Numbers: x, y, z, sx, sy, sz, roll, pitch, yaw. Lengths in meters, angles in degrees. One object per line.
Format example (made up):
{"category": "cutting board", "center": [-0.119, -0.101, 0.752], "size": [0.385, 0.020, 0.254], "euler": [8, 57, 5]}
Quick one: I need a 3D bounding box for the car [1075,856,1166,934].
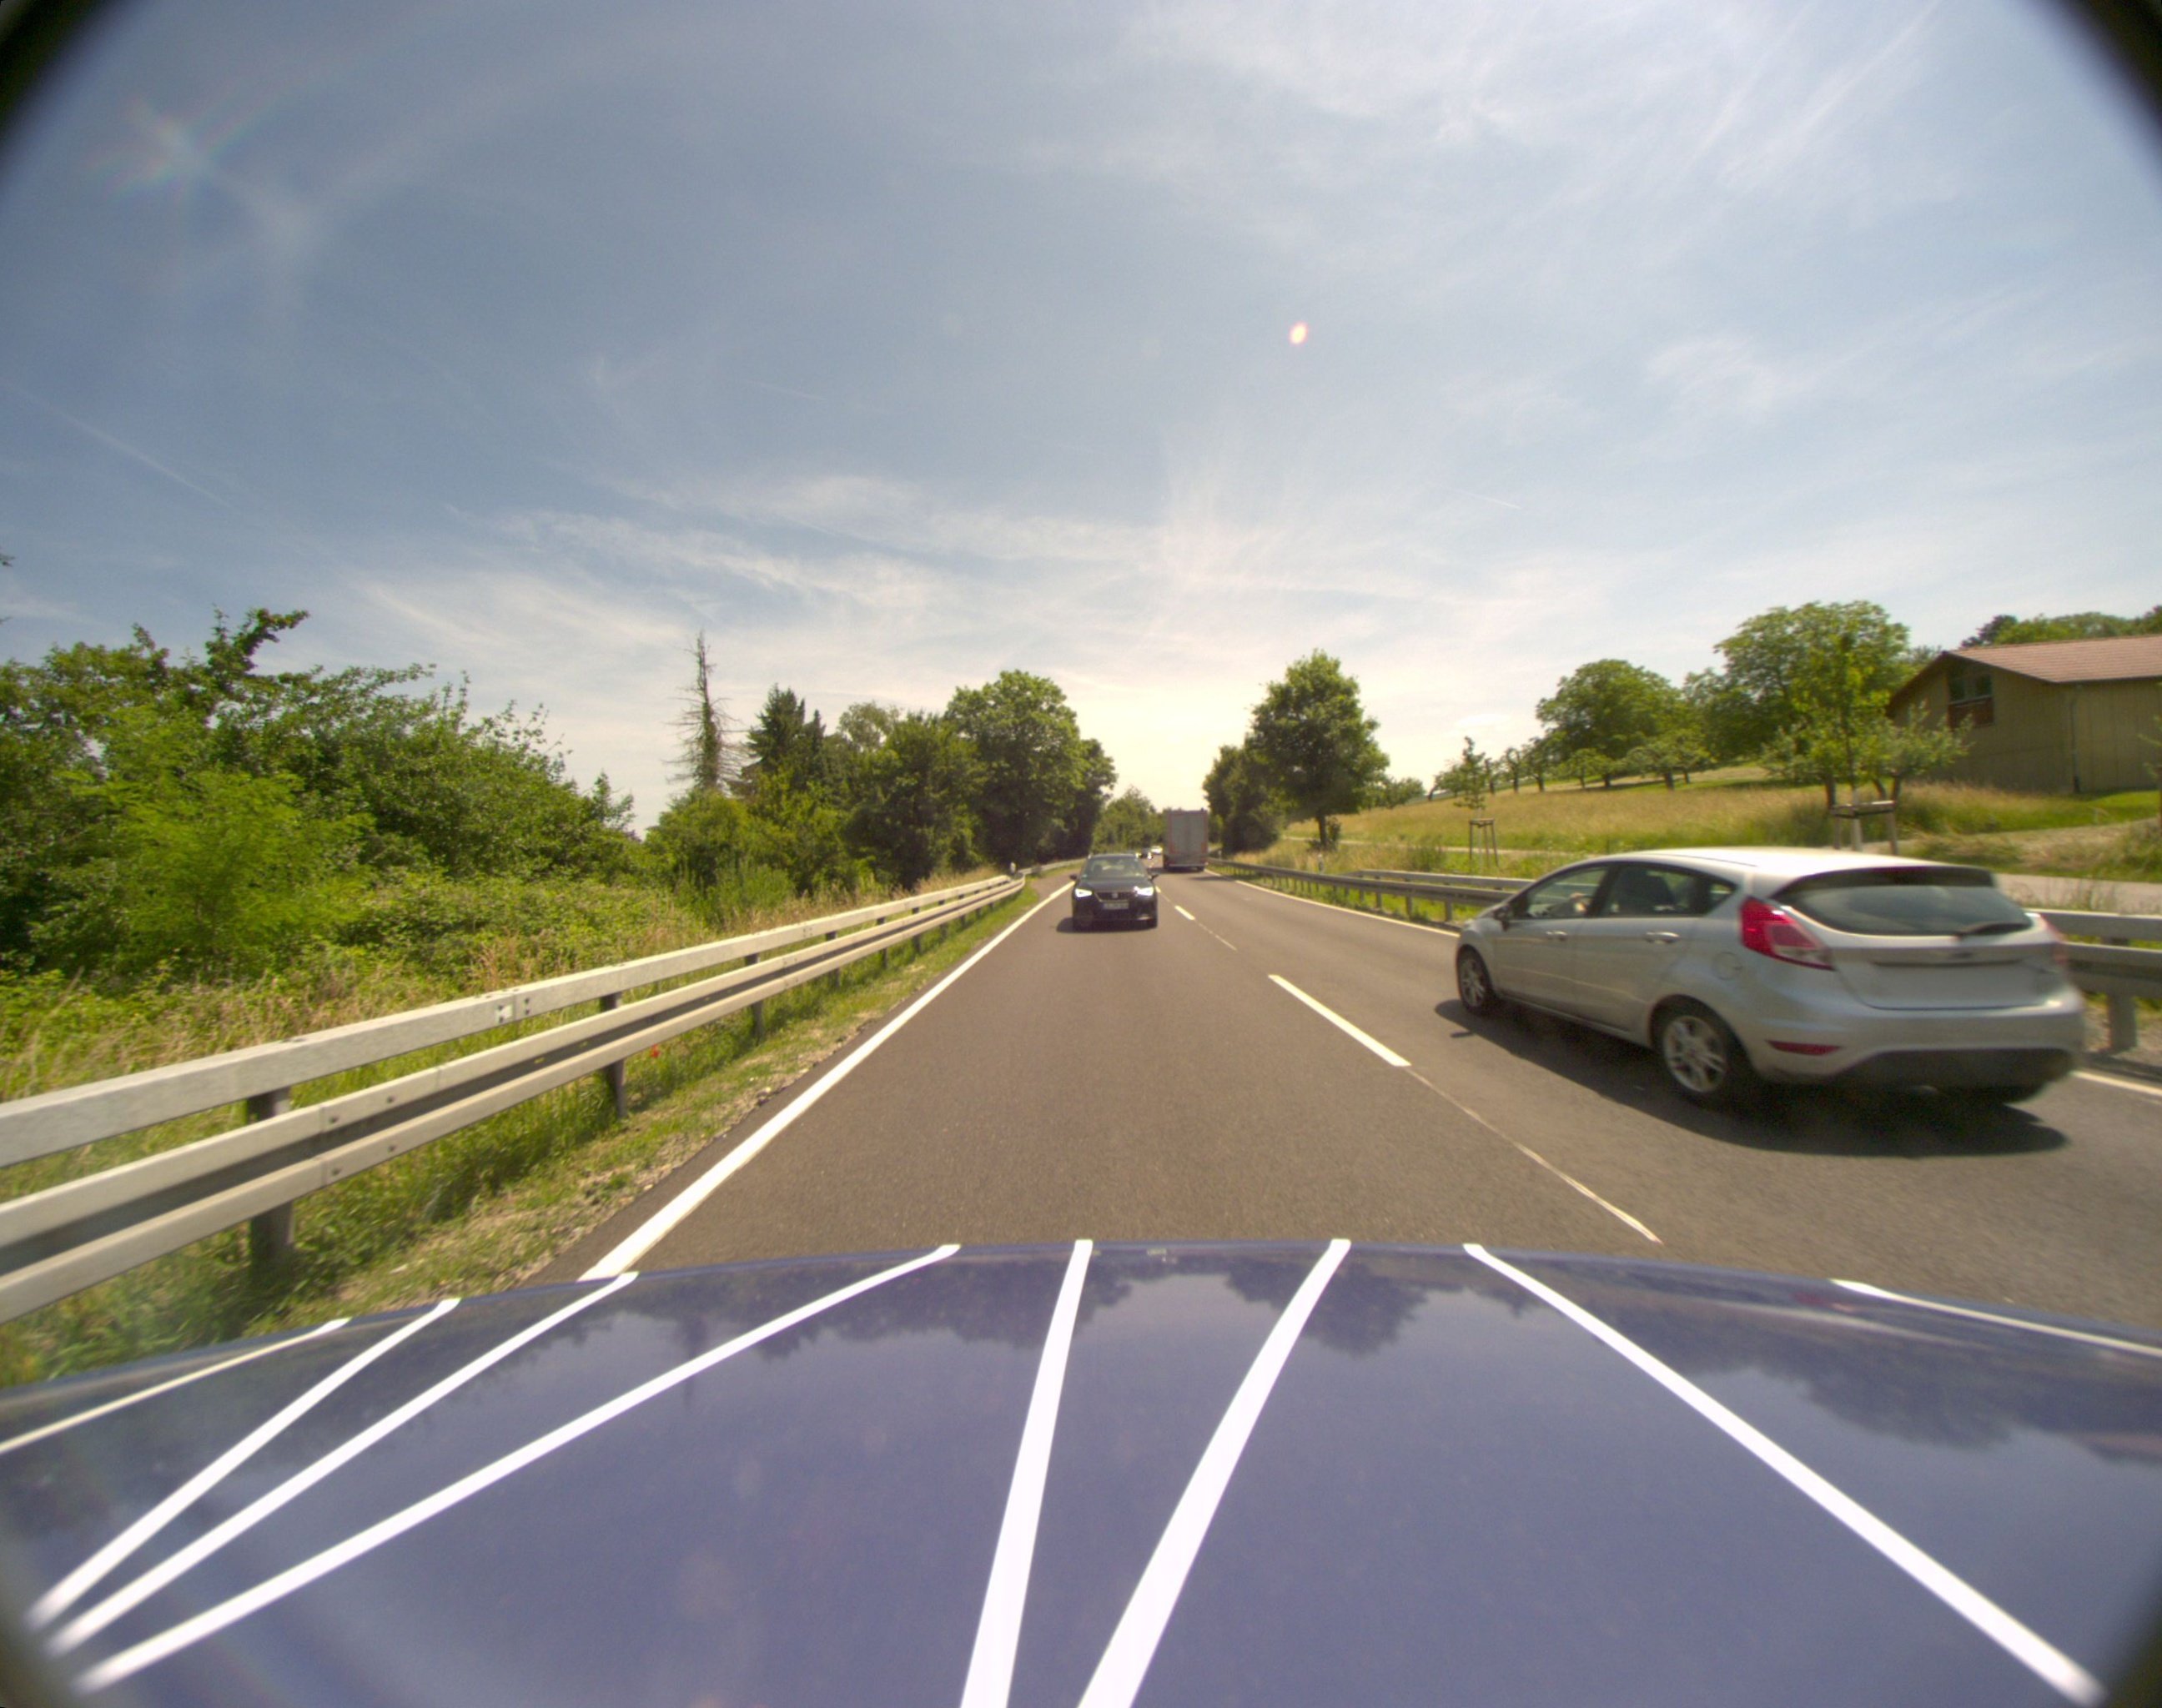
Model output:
{"category": "car", "center": [0.854, 0.799, 16.628], "size": [1.737, 1.467, 4.001], "euler": [-1, 0, 3]}

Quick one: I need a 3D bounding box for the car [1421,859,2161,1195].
{"category": "car", "center": [4.196, 0.768, 5.402], "size": [1.650, 1.432, 4.158], "euler": [-1, 0, -1]}

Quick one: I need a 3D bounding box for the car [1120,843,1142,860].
{"category": "car", "center": [5.232, -0.239, 78.957], "size": [1.882, 1.698, 4.003], "euler": [-1, 0, 10]}

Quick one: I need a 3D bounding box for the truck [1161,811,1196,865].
{"category": "truck", "center": [7.893, -1.255, 61.815], "size": [2.451, 4.170, 5.650], "euler": [-1, 1, 4]}

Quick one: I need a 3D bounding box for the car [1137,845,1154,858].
{"category": "car", "center": [8.983, -0.361, 105.354], "size": [1.882, 1.698, 4.003], "euler": [-1, 0, 10]}

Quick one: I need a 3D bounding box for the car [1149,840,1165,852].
{"category": "car", "center": [12.701, -1.374, 126.759], "size": [1.996, 2.002, 4.004], "euler": [-1, 1, 14]}

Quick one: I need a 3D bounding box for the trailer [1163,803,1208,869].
{"category": "trailer", "center": [7.427, -1.177, 55.463], "size": [2.451, 4.160, 14.019], "euler": [-1, 0, 5]}
